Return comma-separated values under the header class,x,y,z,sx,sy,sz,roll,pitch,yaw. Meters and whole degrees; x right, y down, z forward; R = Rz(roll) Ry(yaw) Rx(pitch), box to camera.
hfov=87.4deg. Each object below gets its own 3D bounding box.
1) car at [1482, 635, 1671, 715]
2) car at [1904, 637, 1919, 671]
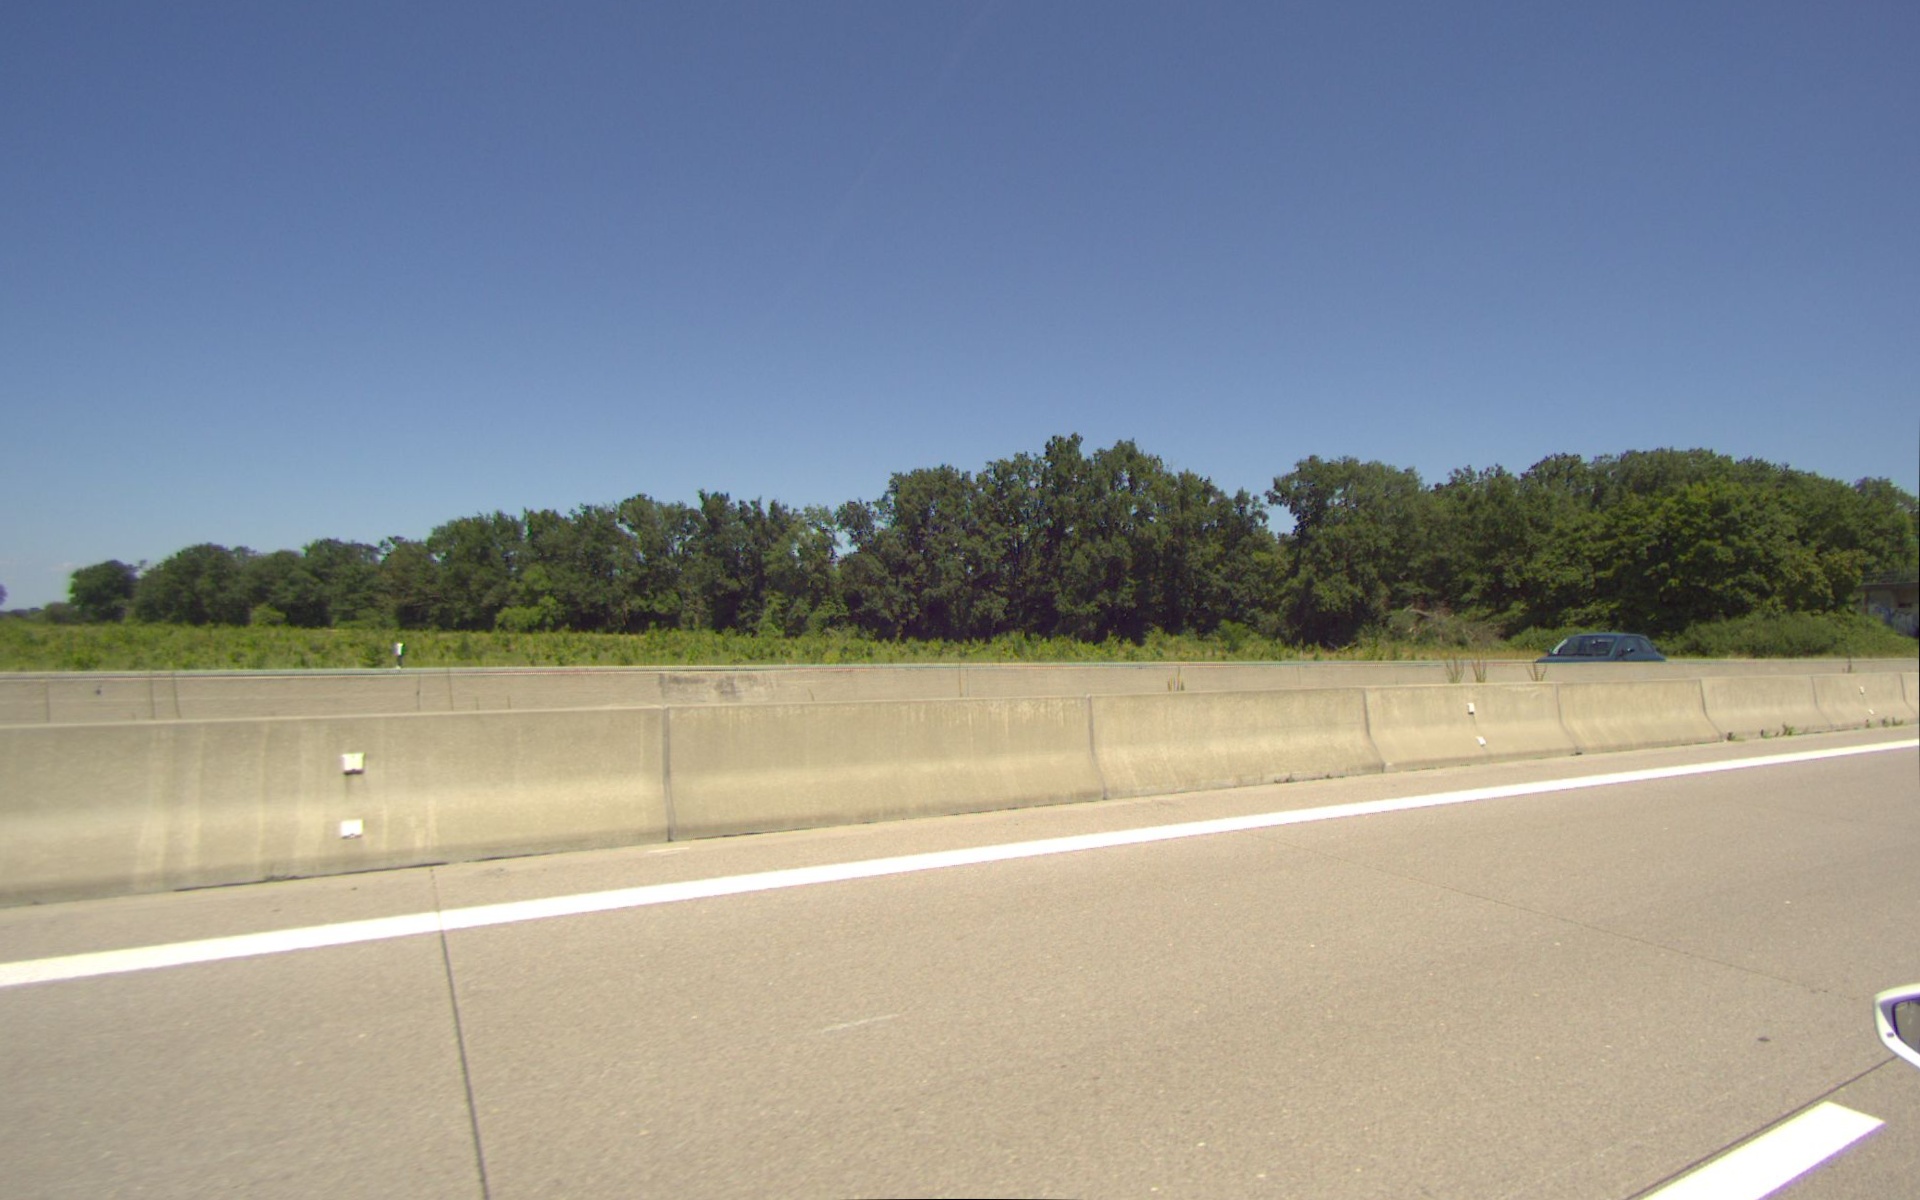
class,x,y,z,sx,sy,sz,roll,pitch,yaw
car,13.409,1.559,21.801,4.287,1.564,1.680,1,-2,-30
car,45.646,2.475,45.897,6.064,1.516,2.055,2,-2,-31
